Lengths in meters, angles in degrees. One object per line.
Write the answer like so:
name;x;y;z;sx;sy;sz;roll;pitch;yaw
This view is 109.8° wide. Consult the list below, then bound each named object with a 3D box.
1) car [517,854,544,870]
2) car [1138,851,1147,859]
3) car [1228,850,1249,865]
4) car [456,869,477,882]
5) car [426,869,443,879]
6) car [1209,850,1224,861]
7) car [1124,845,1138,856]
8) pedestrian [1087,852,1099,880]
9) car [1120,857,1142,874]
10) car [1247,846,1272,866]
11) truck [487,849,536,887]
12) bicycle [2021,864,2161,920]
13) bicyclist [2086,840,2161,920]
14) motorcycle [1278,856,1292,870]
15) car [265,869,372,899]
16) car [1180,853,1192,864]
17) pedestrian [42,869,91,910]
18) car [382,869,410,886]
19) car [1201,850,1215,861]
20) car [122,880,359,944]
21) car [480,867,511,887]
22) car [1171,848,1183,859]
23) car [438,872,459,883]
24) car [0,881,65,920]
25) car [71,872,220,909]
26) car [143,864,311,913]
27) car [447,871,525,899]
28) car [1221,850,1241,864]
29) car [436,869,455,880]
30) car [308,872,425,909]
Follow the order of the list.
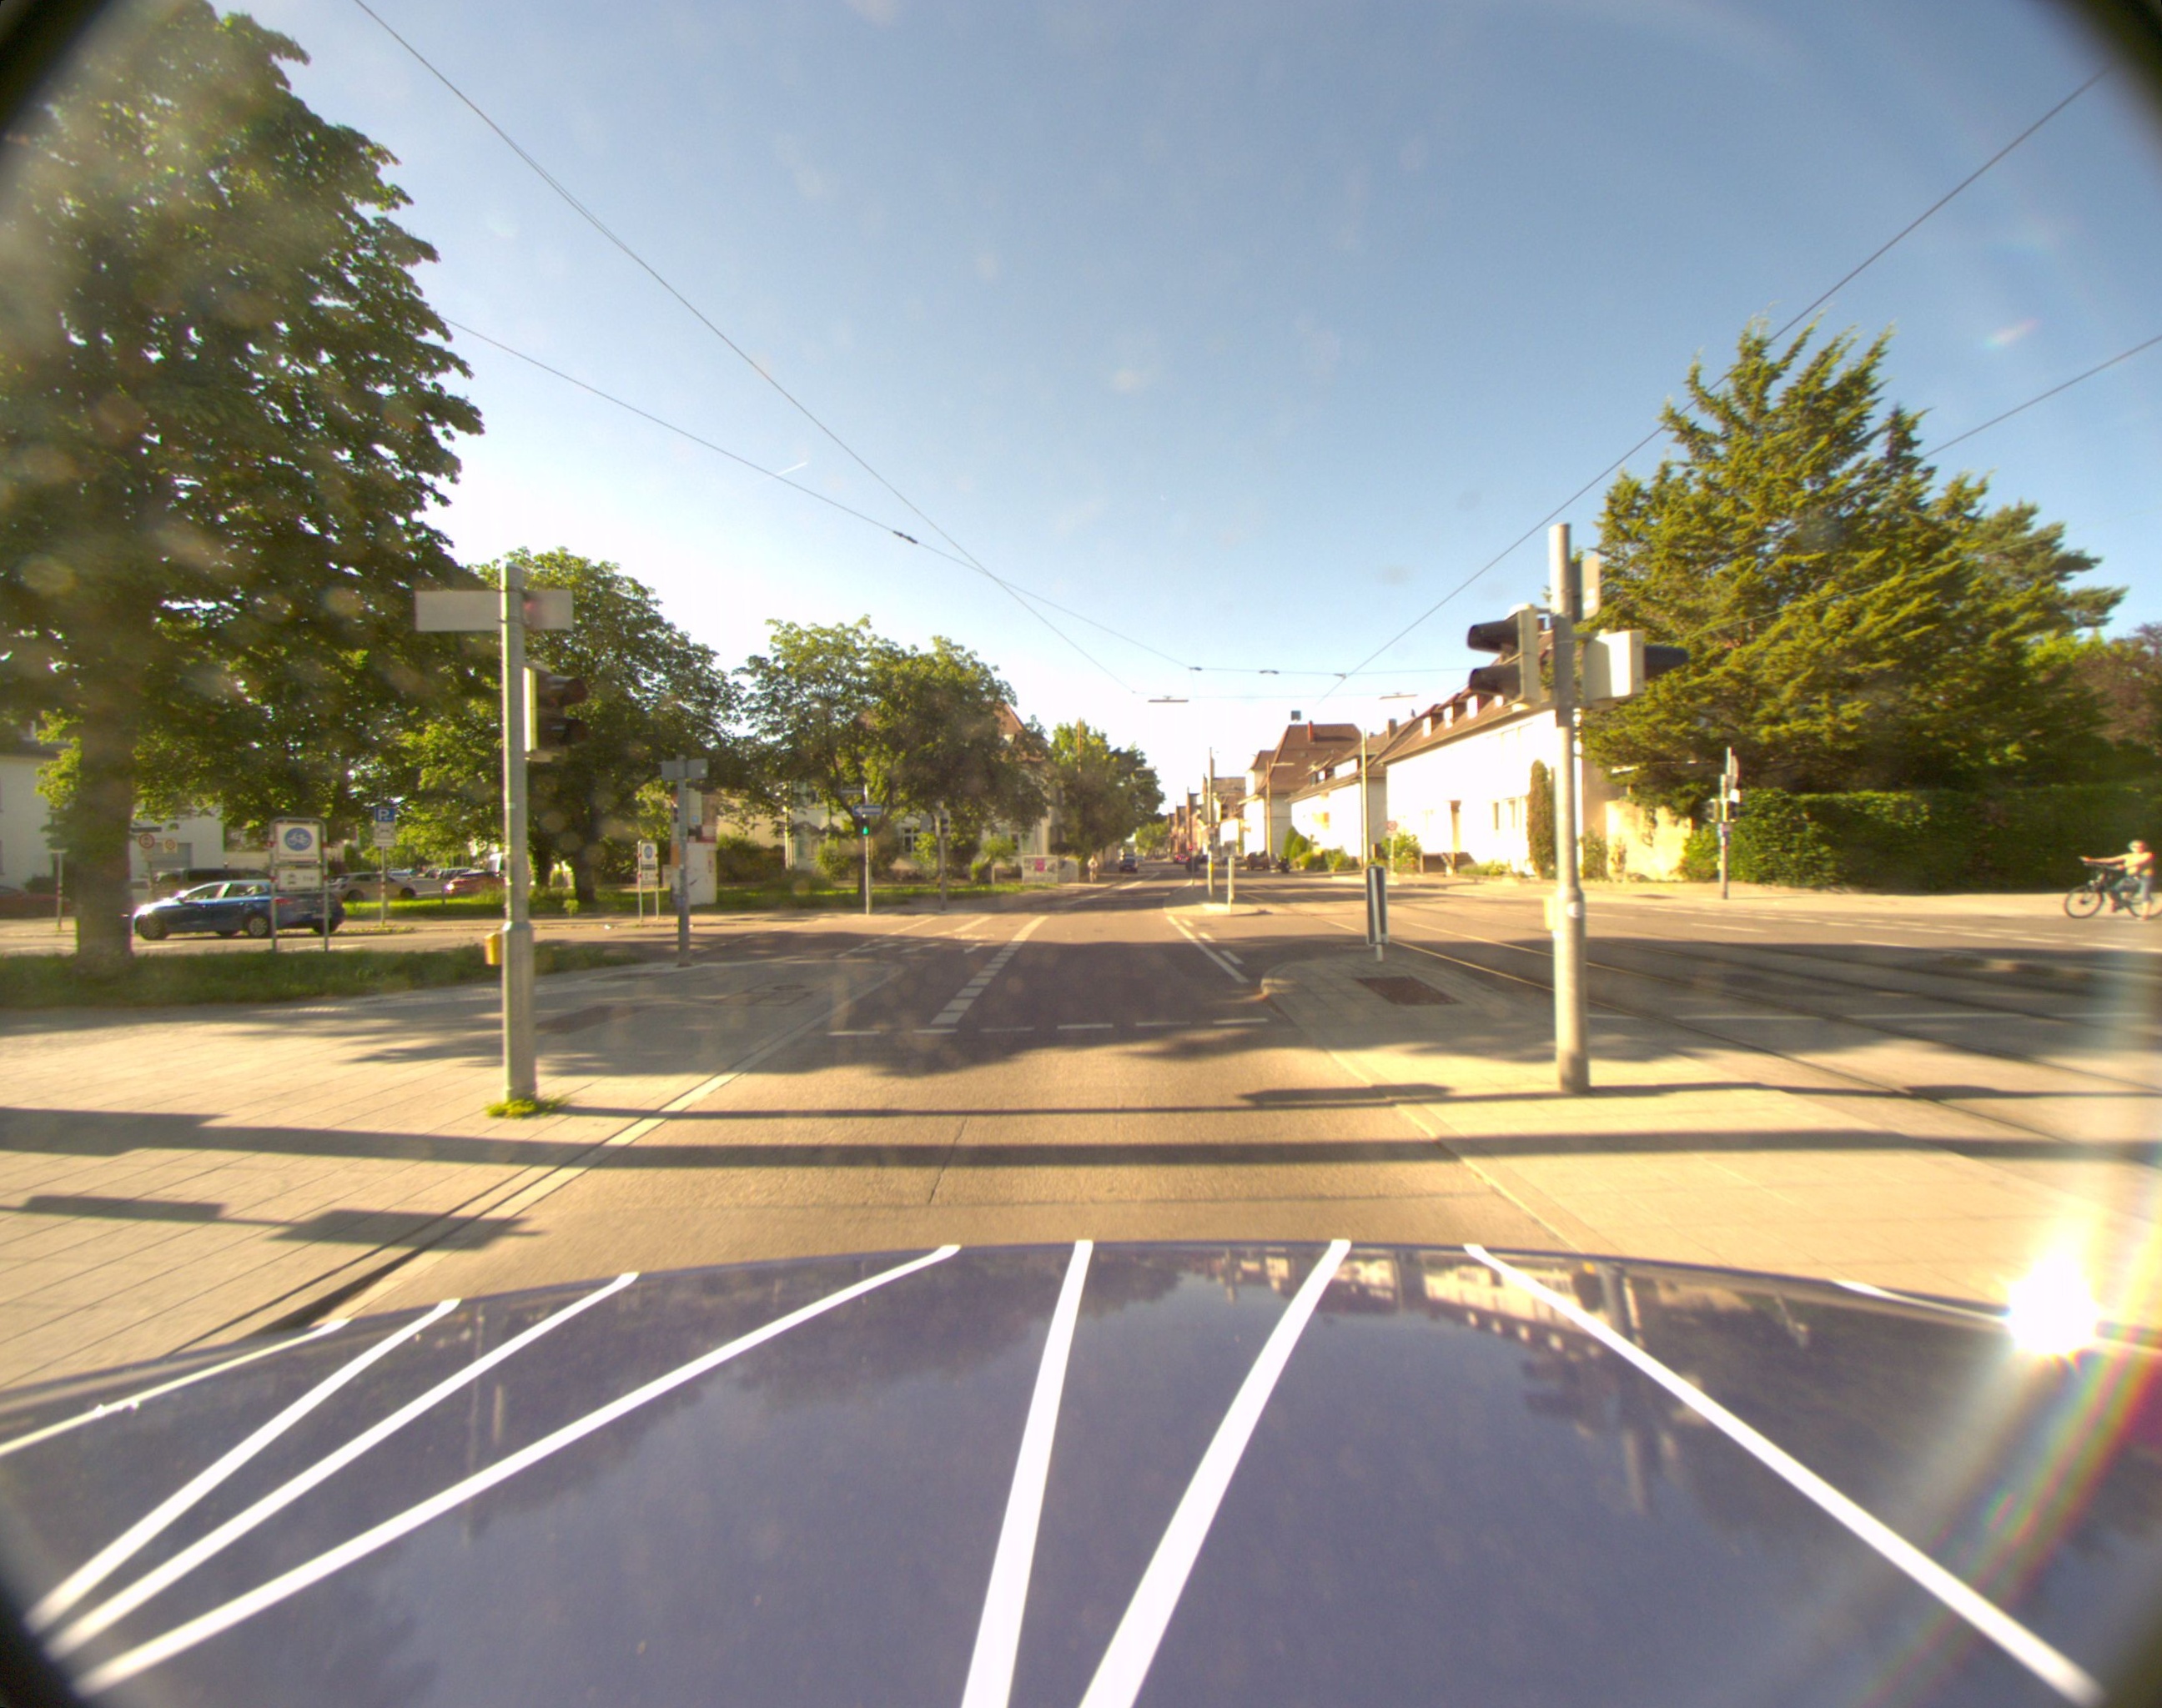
car;-53.323;0.767;73.567;1.763;1.462;3.886;-1;0;-41
car;13.932;0.319;172.902;1.923;1.705;4.002;-3;0;6
car;18.885;0.419;91.339;1.923;1.705;4.001;-3;0;5
car;-68.614;2.374;84.850;1.763;1.462;3.886;-1;0;-40
car;-107.226;3.295;126.007;1.763;1.462;3.885;-1;0;-45
car;19.976;0.192;112.496;1.923;1.555;4.002;-3;0;7
car;7.541;-0.467;114.999;1.704;1.541;4.003;-3;0;9
pedestrian;0.723;0.689;44.976;0.654;1.664;0.943;0;0;6
car;4.925;1.116;74.785;1.704;1.541;4.003;-3;0;9
car;17.951;0.167;76.588;1.923;1.890;4.002;-3;0;6
truck;-41.109;1.006;54.814;4.966;2.561;2.004;-1;1;44
bicycle;21.325;0.780;15.733;2.283;1.111;0.931;-1;0;11
bicyclist;21.537;0.523;15.645;0.559;1.613;0.899;-1;1;12
motorcycle;16.595;0.717;61.816;0.605;1.040;2.438;-3;0;6
car;-41.917;1.627;41.903;1.757;1.462;3.898;-1;0;6
car;17.037;0.714;123.557;1.923;1.705;4.002;-3;0;7
pedestrian;-45.756;1.573;34.282;1.024;1.759;0.901;-3;0;10
car;-62.254;2.109;69.064;1.763;1.462;3.886;-1;0;-41
car;21.233;0.217;127.178;1.923;1.704;4.002;-3;0;5
car;-21.054;1.416;19.161;3.996;1.425;1.817;-1;0;2
car;-44.794;1.720;58.161;1.762;1.462;3.886;-1;0;-37
car;16.723;-0.051;132.090;1.923;1.705;4.002;-3;0;7
car;-84.400;3.122;101.368;3.885;1.462;1.763;-1;0;43
car;-42.722;1.843;29.286;1.757;1.462;3.898;-1;0;6
car;-42.396;1.608;34.580;1.757;1.462;3.898;-1;0;6
car;-35.892;1.398;32.140;1.920;1.825;4.344;-1;0;8
car;-34.519;1.764;44.221;1.607;1.525;4.280;-1;-1;-8
car;18.963;0.379;96.247;1.923;1.705;4.001;-3;0;4
car;-95.529;3.076;114.199;3.885;1.462;1.763;-1;0;43
car;-35.164;1.785;37.533;1.920;1.638;3.716;-1;0;13
